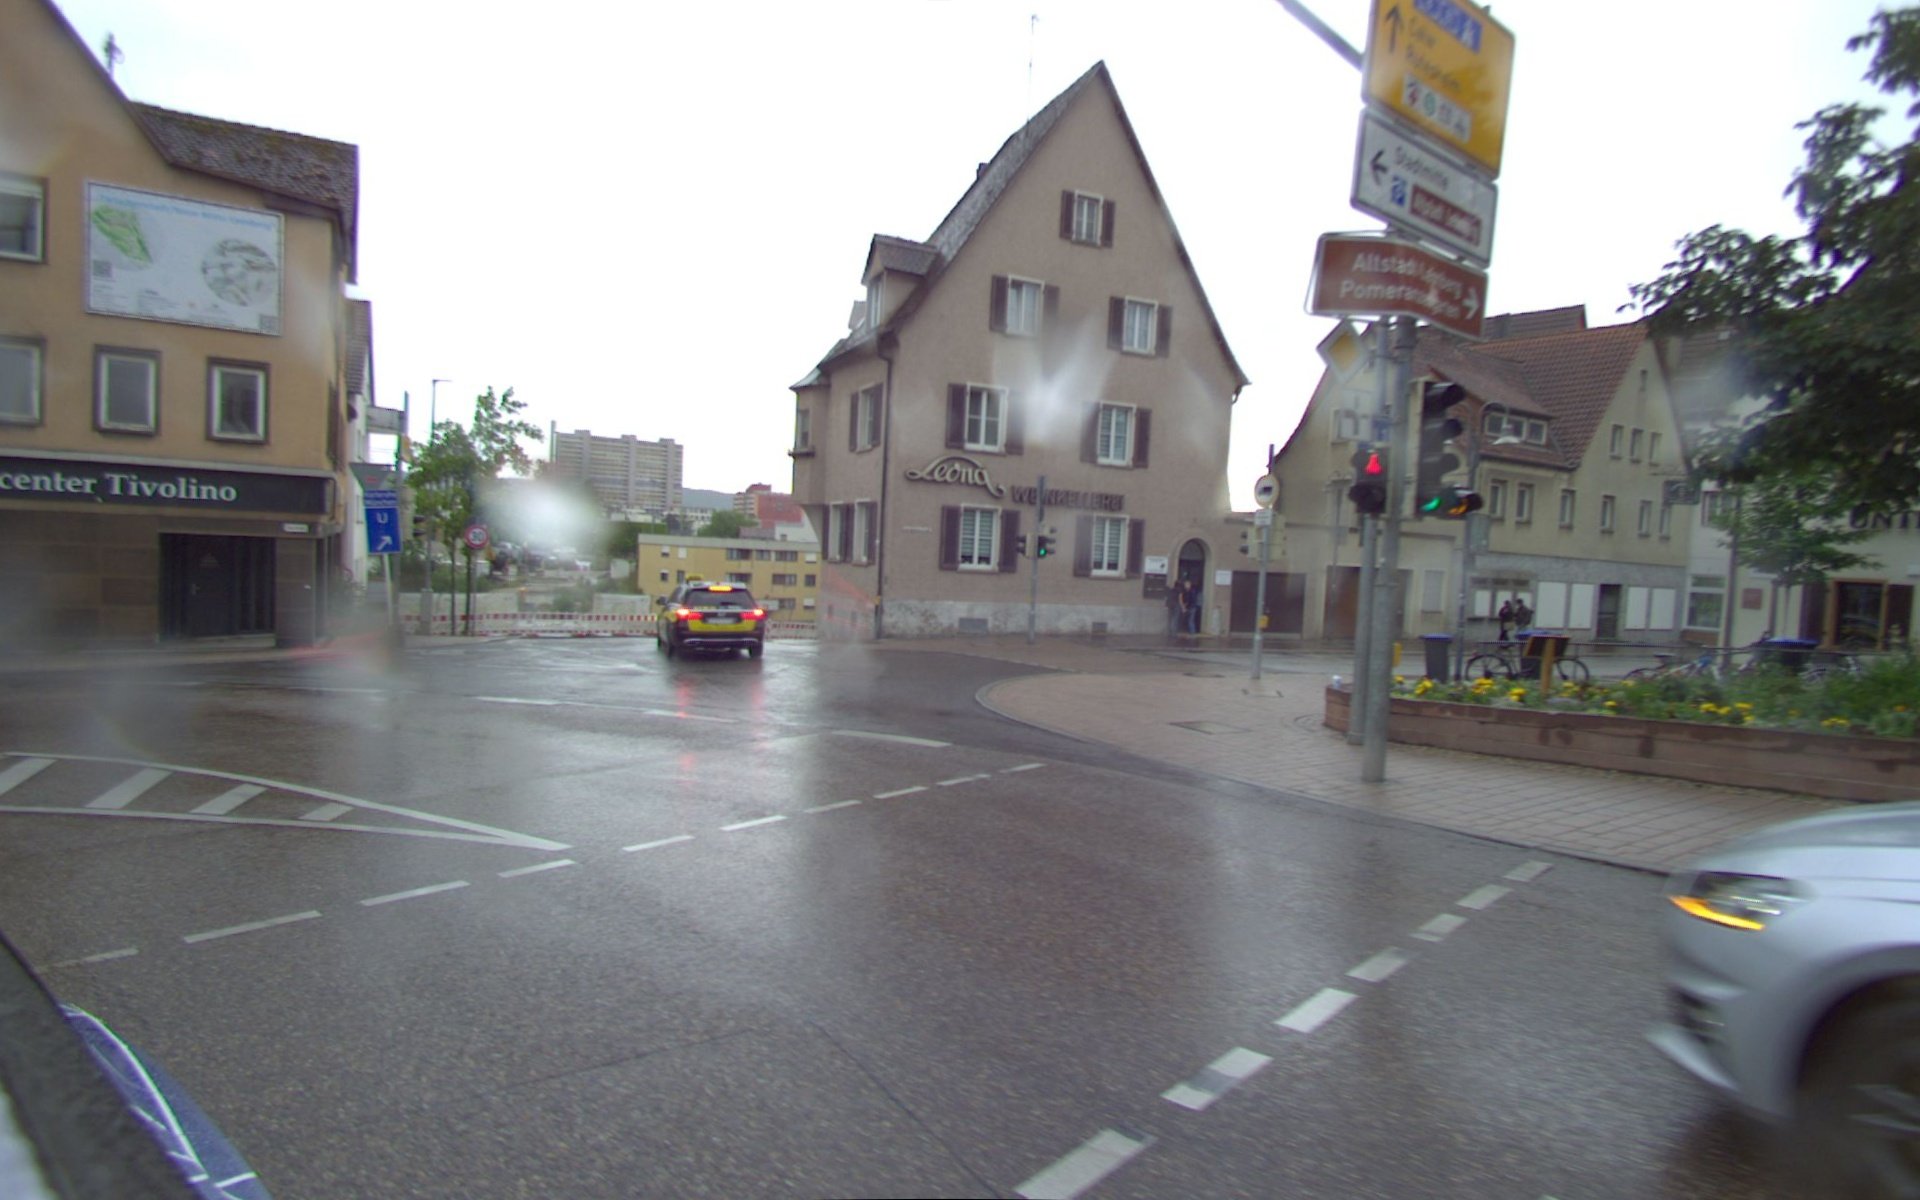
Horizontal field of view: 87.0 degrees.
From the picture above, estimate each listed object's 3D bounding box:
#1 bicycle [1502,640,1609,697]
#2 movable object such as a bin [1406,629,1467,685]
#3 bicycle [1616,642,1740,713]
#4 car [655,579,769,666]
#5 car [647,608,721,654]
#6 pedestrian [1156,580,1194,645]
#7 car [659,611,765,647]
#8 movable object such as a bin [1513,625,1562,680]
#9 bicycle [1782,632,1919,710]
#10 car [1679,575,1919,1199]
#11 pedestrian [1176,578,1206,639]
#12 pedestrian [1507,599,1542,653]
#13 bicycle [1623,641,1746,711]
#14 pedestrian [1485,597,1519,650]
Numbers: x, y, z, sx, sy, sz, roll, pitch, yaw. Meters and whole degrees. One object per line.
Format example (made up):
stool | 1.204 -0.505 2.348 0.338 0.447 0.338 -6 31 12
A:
bicycle | 9.619 1.095 16.387 1.428 0.824 0.336 1 5 23
movable object such as a bin | 8.555 1.020 18.201 0.779 0.933 0.724 3 -3 9
bicycle | 10.669 1.135 15.092 1.465 0.918 0.388 2 5 32
car | -5.147 0.426 20.568 1.966 1.550 4.427 -1 -1 -17
car | -9.343 1.031 34.557 1.968 1.442 4.007 -1 -1 -8
pedestrian | 6.213 0.362 29.255 0.703 1.844 0.799 -1 0 -44
car | -11.994 1.371 49.056 4.668 1.600 1.835 -1 -1 -32
movable object such as a bin | 10.239 0.922 17.952 0.575 0.908 0.589 -2 4 -45
bicycle | 12.480 0.973 14.160 1.470 0.918 0.387 3 6 44
car | 3.617 0.625 1.446 1.640 1.438 3.880 -1 -1 -36
pedestrian | 6.761 0.252 29.632 0.528 1.741 0.558 2 3 -20
pedestrian | 18.717 0.835 33.573 0.620 1.745 0.784 -1 1 -25
bicycle | 10.999 1.137 15.414 1.465 0.918 0.388 2 5 32
pedestrian | 18.407 0.779 34.358 0.620 1.745 0.784 -1 1 -25
